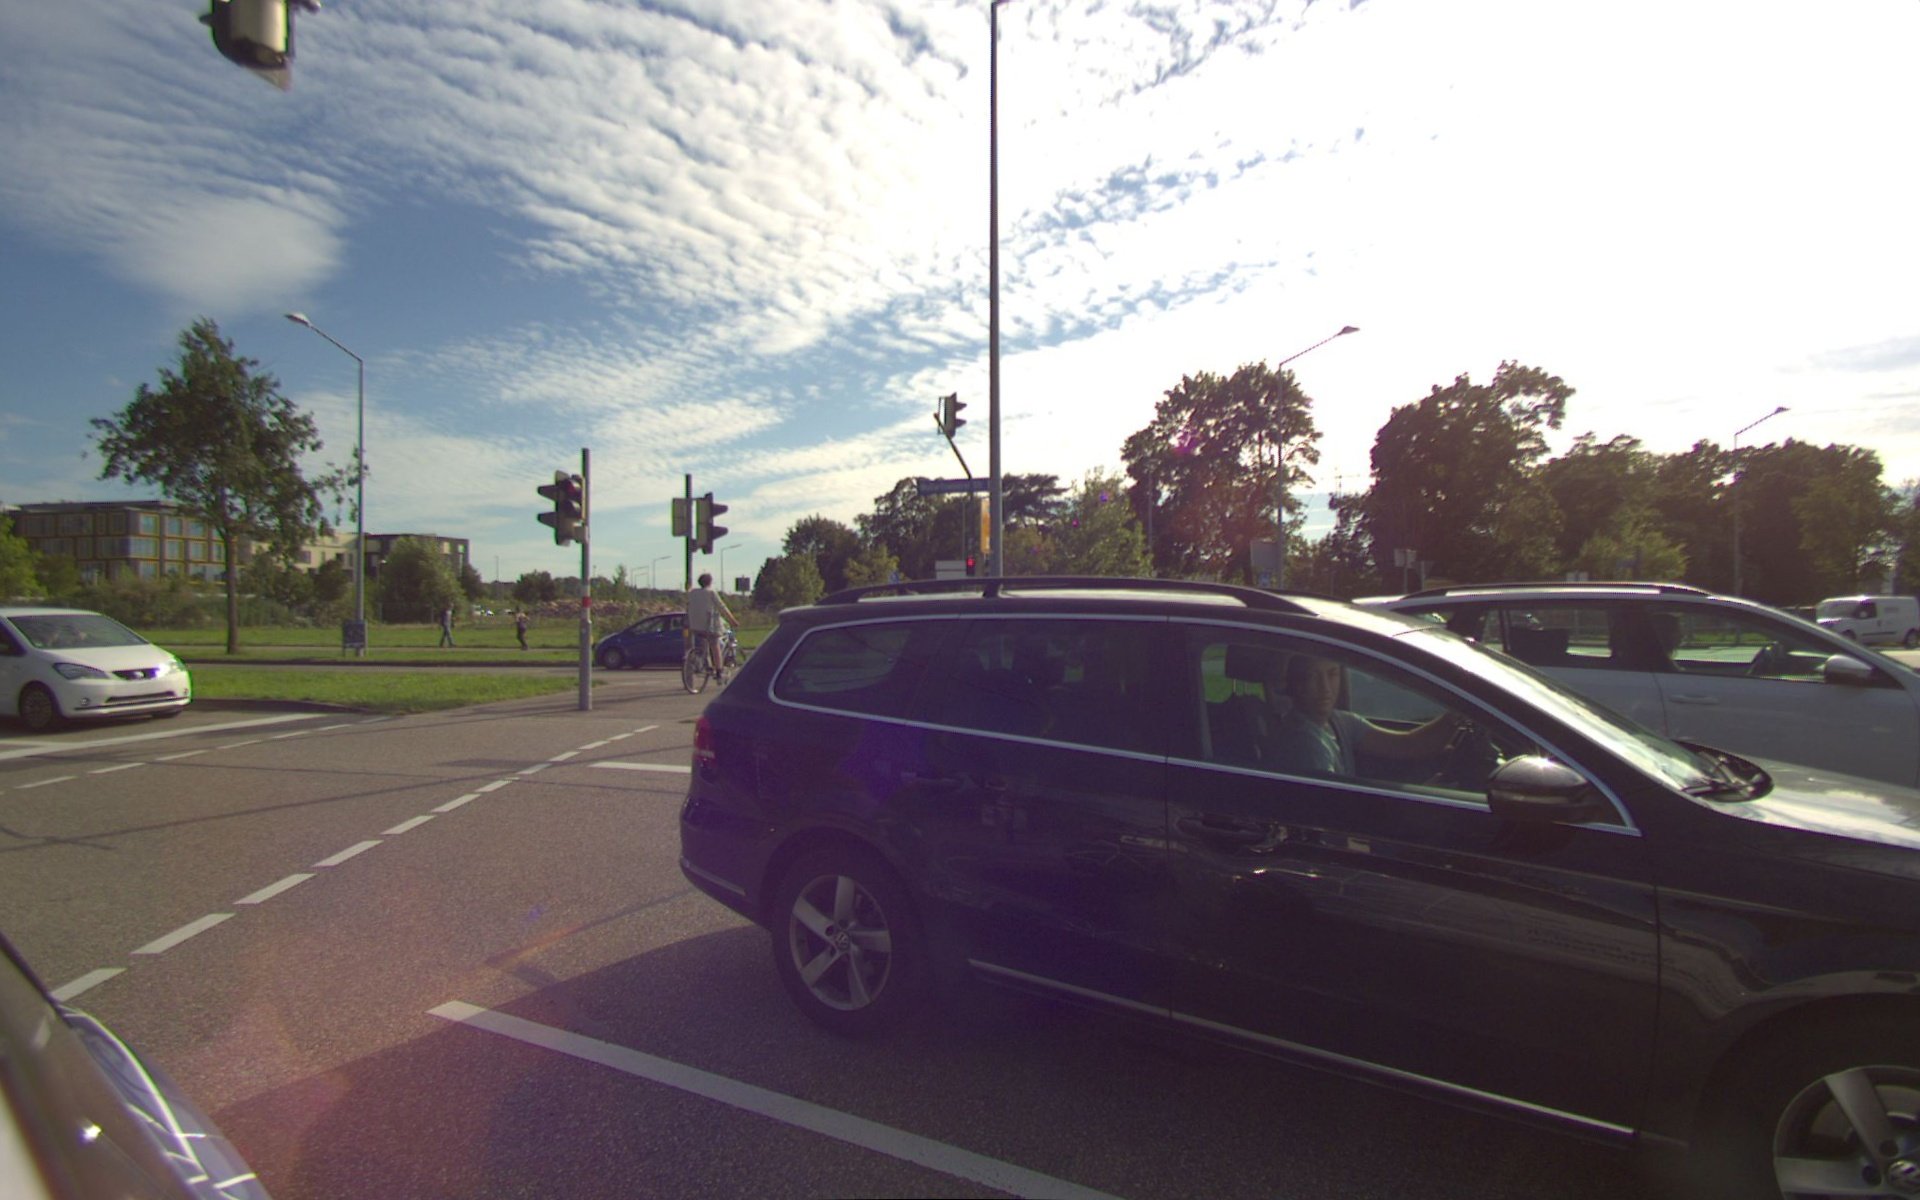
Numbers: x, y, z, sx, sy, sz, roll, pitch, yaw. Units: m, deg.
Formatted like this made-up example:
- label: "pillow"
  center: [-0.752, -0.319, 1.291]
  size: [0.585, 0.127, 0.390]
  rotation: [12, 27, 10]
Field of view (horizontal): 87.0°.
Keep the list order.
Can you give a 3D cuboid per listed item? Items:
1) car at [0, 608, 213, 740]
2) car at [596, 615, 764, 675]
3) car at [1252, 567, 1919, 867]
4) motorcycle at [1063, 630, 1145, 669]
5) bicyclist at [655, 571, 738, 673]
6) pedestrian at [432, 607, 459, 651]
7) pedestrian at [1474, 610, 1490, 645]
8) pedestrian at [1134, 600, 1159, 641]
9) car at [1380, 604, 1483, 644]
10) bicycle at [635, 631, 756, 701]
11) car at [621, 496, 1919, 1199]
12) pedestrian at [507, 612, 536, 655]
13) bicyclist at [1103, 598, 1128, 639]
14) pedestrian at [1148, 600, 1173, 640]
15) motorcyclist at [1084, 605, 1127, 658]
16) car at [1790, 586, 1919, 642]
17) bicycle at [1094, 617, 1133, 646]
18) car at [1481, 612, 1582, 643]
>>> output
- label: "car"
  center: [-11.769, 0.864, 12.857]
  size: [3.623, 1.475, 1.760]
  rotation: [0, 0, 13]
- label: "car"
  center: [-7.382, 1.205, 26.901]
  size: [3.945, 1.513, 1.780]
  rotation: [0, -3, 6]
- label: "car"
  center: [4.347, 0.560, 6.178]
  size: [4.623, 1.456, 1.837]
  rotation: [0, 0, 32]
- label: "motorcycle"
  center: [3.804, 1.296, 26.769]
  size: [1.992, 0.994, 0.786]
  rotation: [0, -1, -8]
- label: "bicyclist"
  center: [-4.174, 0.350, 16.084]
  size: [0.989, 1.567, 0.861]
  rotation: [0, -1, 18]
- label: "pedestrian"
  center: [-19.723, 1.098, 38.810]
  size: [0.652, 1.642, 0.625]
  rotation: [-1, 0, 15]
- label: "pedestrian"
  center: [24.493, 1.275, 47.482]
  size: [0.539, 1.637, 0.507]
  rotation: [1, -1, -38]
- label: "pedestrian"
  center: [9.126, 0.996, 49.445]
  size: [0.851, 1.930, 0.900]
  rotation: [-1, 1, -20]
- label: "car"
  center: [19.978, 0.976, 43.056]
  size: [1.657, 1.512, 4.007]
  rotation: [0, 1, -18]
- label: "bicycle"
  center: [-4.173, 1.017, 16.132]
  size: [0.993, 1.015, 1.950]
  rotation: [0, -1, 17]
- label: "car"
  center: [1.290, 0.607, 3.356]
  size: [4.829, 1.578, 1.978]
  rotation: [-2, 0, 32]
- label: "pedestrian"
  center: [-15.967, 1.215, 36.847]
  size: [0.747, 1.519, 0.627]
  rotation: [0, 2, 6]
- label: "bicyclist"
  center: [5.550, 0.650, 36.166]
  size: [0.610, 1.456, 0.689]
  rotation: [-1, -1, 38]
- label: "pedestrian"
  center: [9.877, 0.979, 49.815]
  size: [0.851, 1.930, 0.900]
  rotation: [-1, 1, -20]
- label: "motorcyclist"
  center: [3.837, 0.821, 26.811]
  size: [0.928, 1.376, 0.786]
  rotation: [0, -1, -8]
- label: "car"
  center: [31.166, 0.522, 34.895]
  size: [4.483, 1.839, 1.690]
  rotation: [1, -3, -17]
- label: "bicycle"
  center: [5.495, 1.120, 36.085]
  size: [0.610, 0.996, 1.815]
  rotation: [-1, -1, 36]
- label: "car"
  center: [27.982, 1.331, 49.635]
  size: [1.742, 1.431, 4.003]
  rotation: [0, -1, -44]
